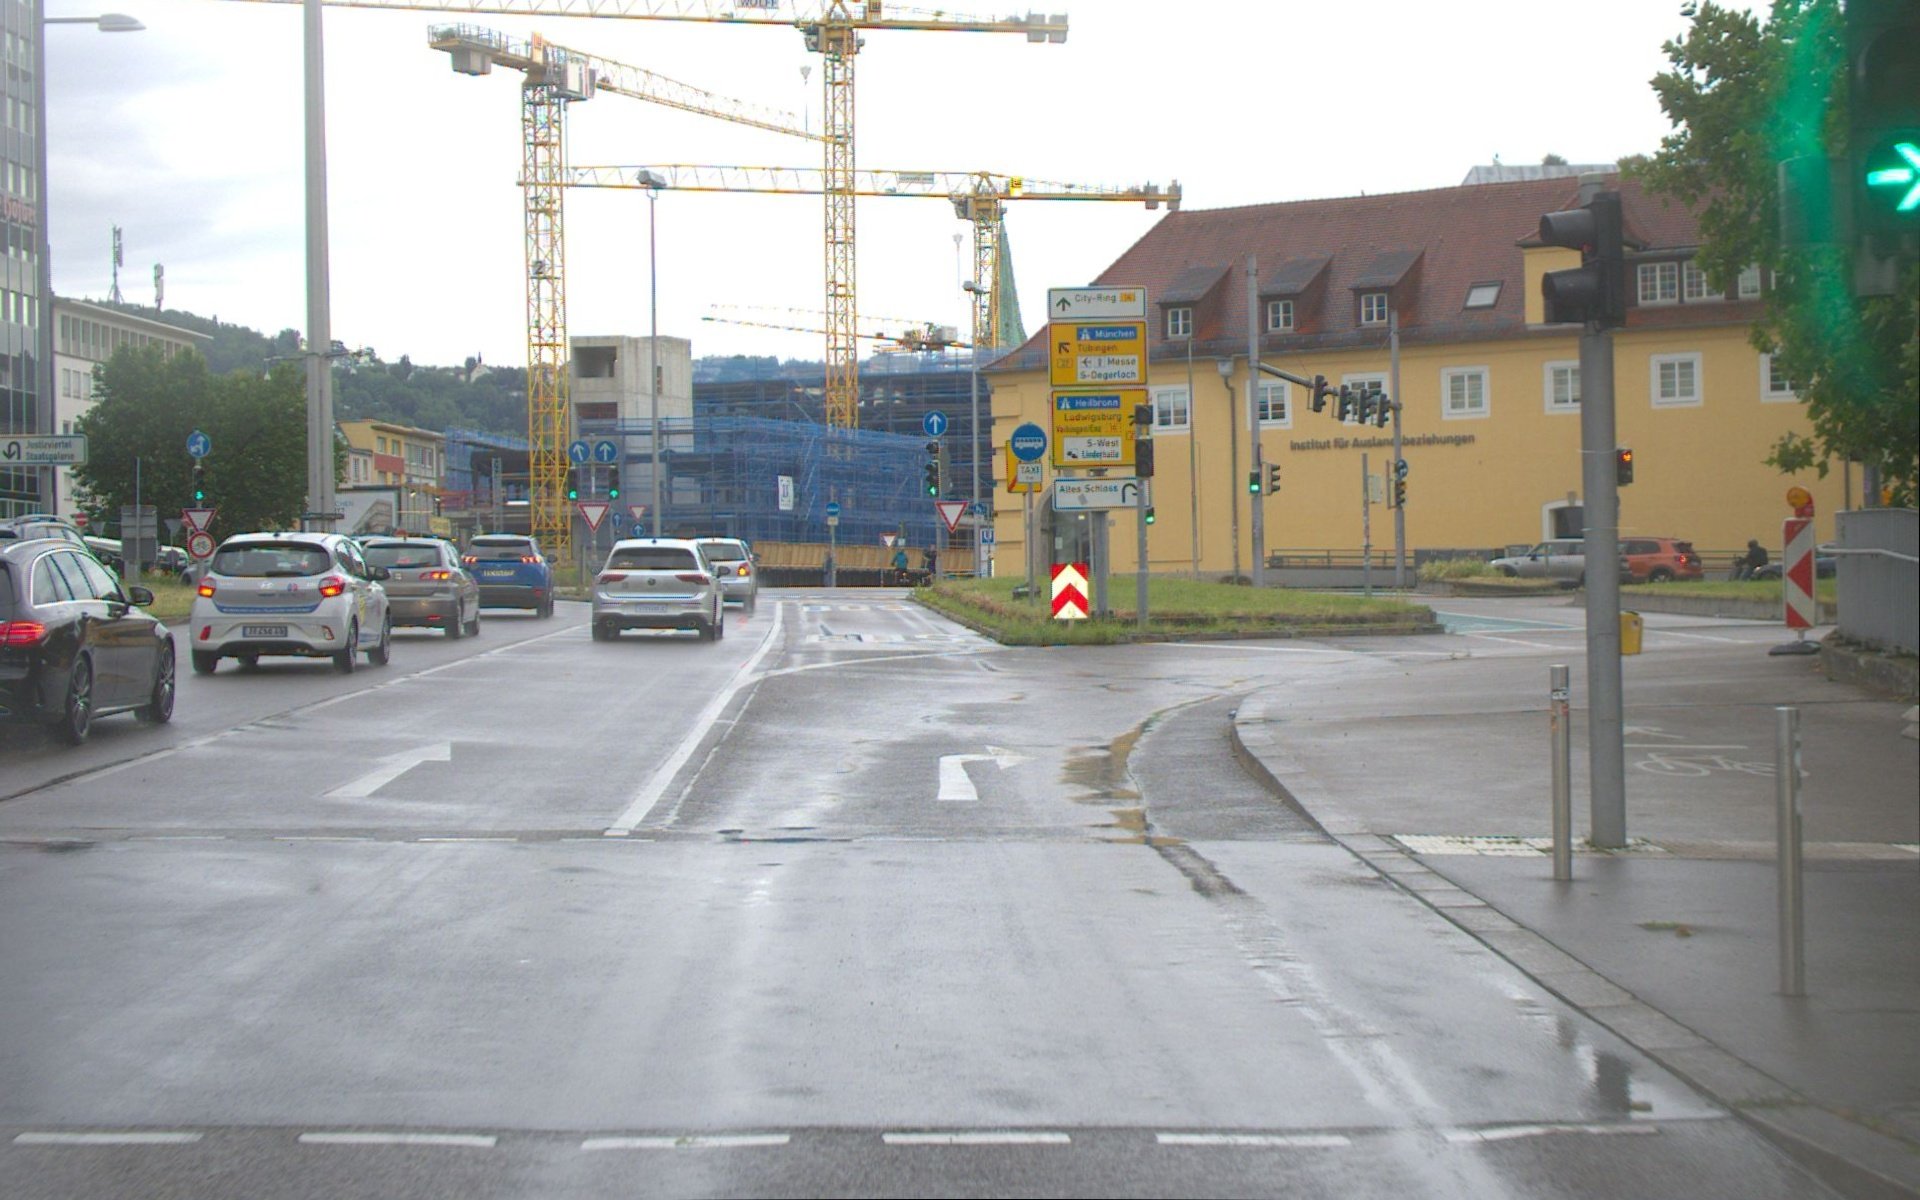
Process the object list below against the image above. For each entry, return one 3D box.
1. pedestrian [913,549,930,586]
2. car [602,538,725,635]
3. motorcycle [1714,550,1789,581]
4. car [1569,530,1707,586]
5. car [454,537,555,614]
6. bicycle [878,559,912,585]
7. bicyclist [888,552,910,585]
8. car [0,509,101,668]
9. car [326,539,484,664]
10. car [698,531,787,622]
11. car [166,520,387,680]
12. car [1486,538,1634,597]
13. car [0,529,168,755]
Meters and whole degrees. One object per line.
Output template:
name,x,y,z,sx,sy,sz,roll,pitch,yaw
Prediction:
pedestrian,-1.434,-1.223,128.383,0.456,1.363,0.443,0,-1,38
car,-4.208,-0.179,49.011,1.444,1.354,2.412,0,0,3
motorcycle,21.880,-0.957,95.062,1.966,0.850,0.545,0,-1,22
car,18.469,-1.127,93.630,3.403,1.467,1.651,0,-1,24
car,-8.365,-0.428,63.307,1.493,1.365,3.033,0,0,-1
bicycle,-2.591,-1.104,136.178,0.880,1.006,1.993,0,0,-16
bicyclist,-2.419,-1.242,135.872,0.703,1.271,0.635,0,-1,-16
car,-10.650,-0.118,38.366,1.464,1.700,3.141,0,0,-2
car,-7.881,0.030,49.107,1.716,1.721,3.494,0,0,-1
car,-4.443,-0.498,70.559,1.667,1.735,3.288,1,2,-1
car,-7.330,0.013,37.163,1.880,1.647,3.458,0,0,-3
car,15.499,-0.825,88.861,3.406,1.477,1.832,0,-1,25
car,-6.960,0.243,24.382,1.830,1.489,3.399,0,1,2
